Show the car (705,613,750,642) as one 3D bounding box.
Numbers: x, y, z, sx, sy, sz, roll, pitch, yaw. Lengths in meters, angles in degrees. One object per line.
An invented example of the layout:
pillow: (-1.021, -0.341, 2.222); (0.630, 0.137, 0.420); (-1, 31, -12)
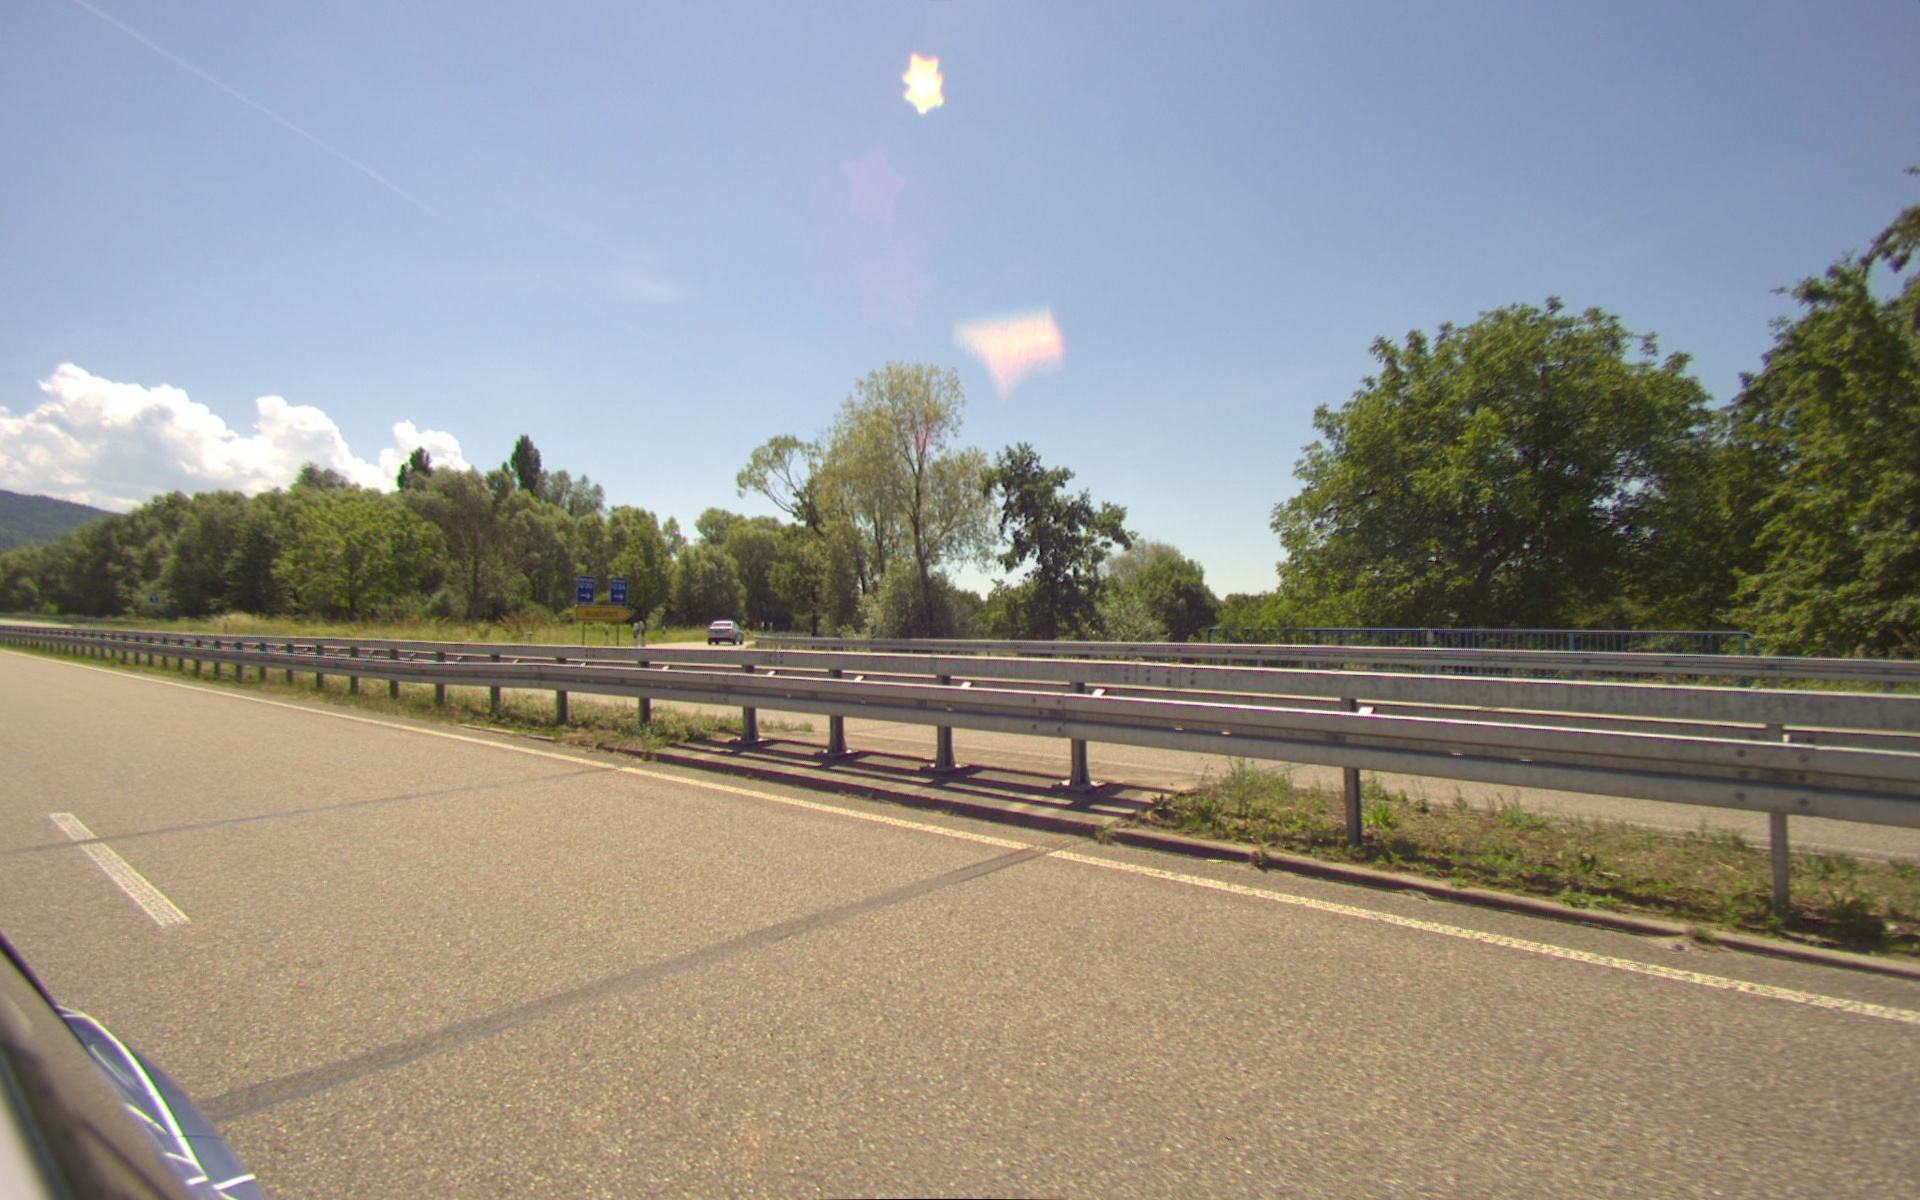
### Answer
car: (-14.430, 1.659, 63.052); (1.706, 1.657, 4.942); (-1, 0, 0)
